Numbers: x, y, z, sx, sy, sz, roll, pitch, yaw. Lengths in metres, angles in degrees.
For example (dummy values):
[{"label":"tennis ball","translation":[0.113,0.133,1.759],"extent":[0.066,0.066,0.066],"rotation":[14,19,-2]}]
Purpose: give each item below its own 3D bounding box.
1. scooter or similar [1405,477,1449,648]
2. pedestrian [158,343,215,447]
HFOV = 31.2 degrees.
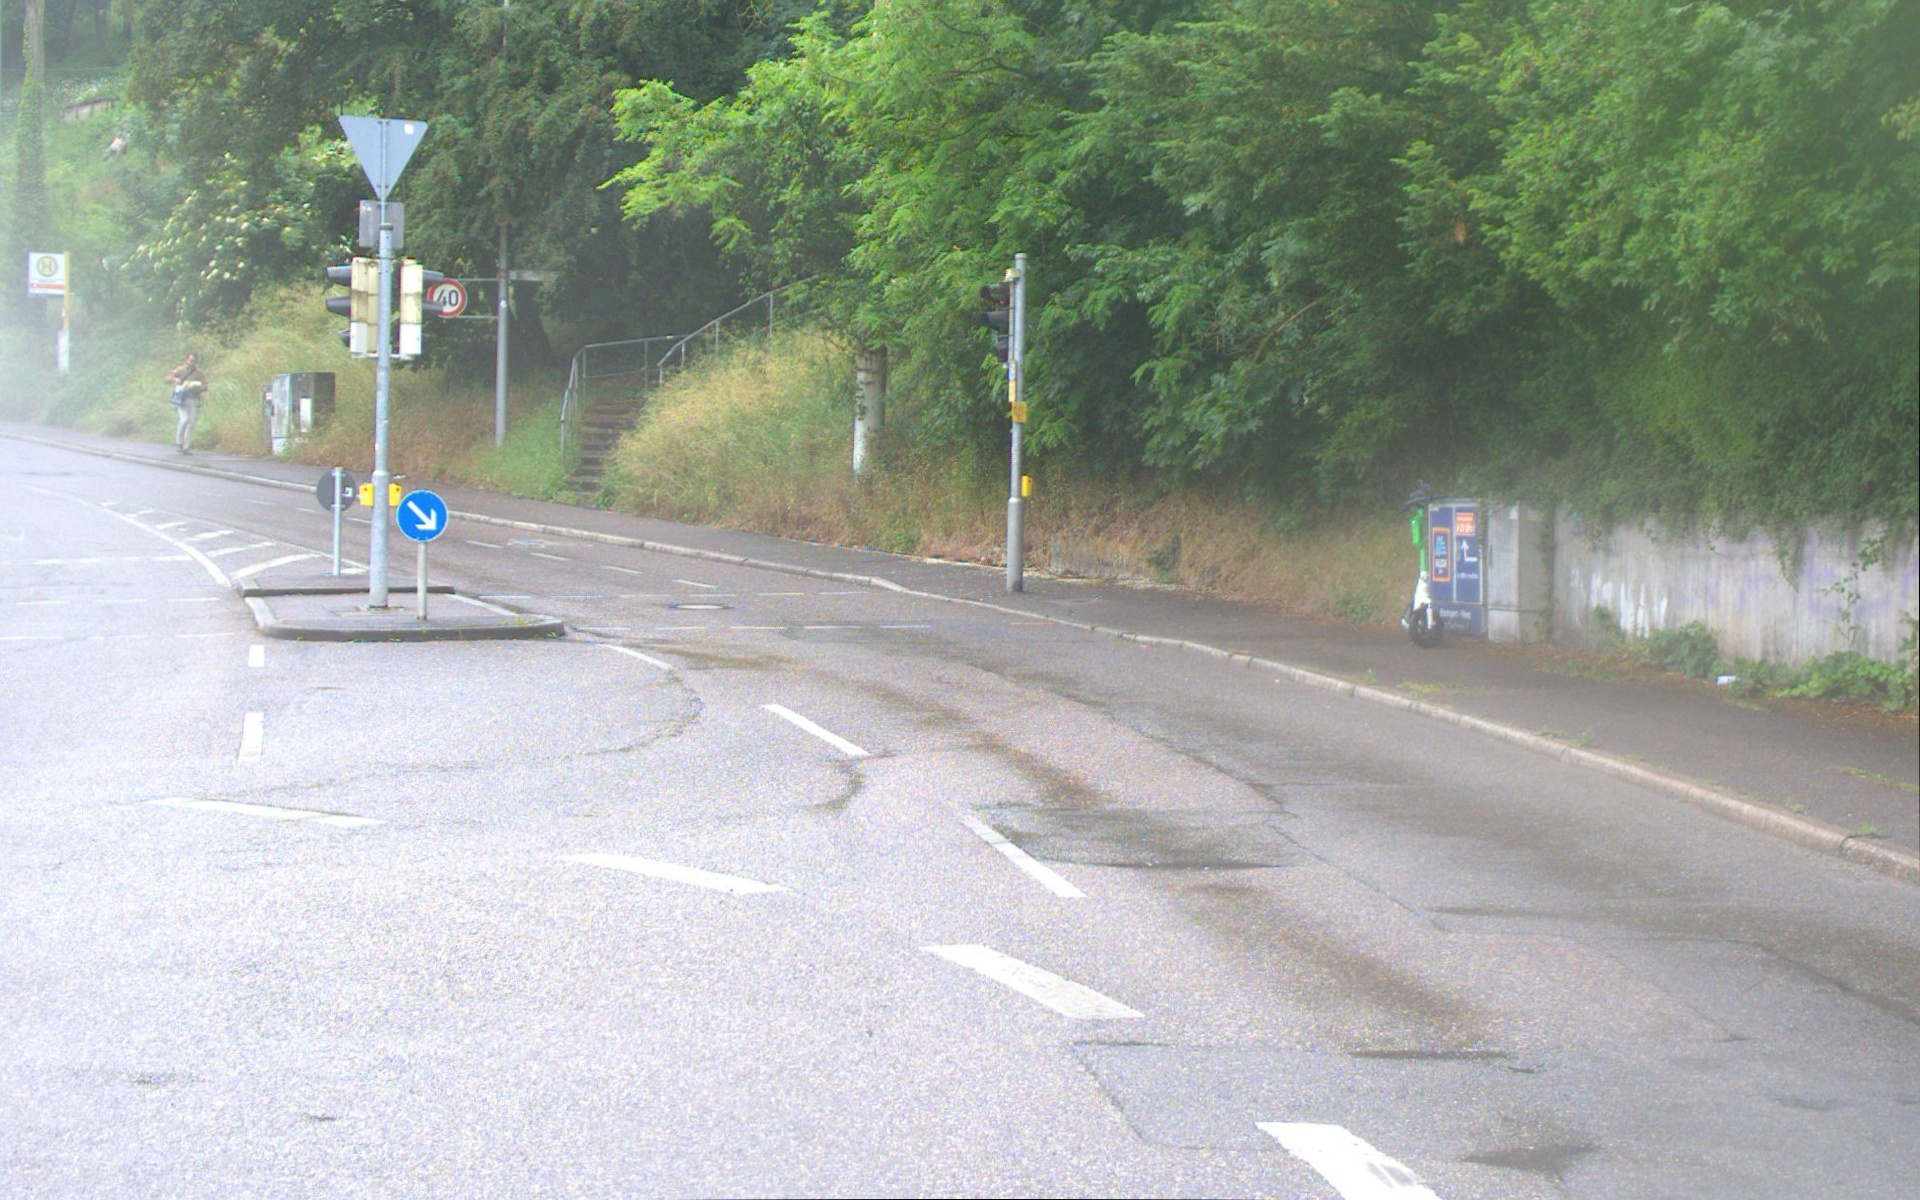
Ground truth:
[{"label":"scooter or similar","translation":[3.591,-0.294,26.460],"extent":[0.322,1.275,0.751],"rotation":[0,4,7]},{"label":"pedestrian","translation":[-13.319,-3.523,59.177],"extent":[0.880,1.730,0.866],"rotation":[0,0,-17]}]
